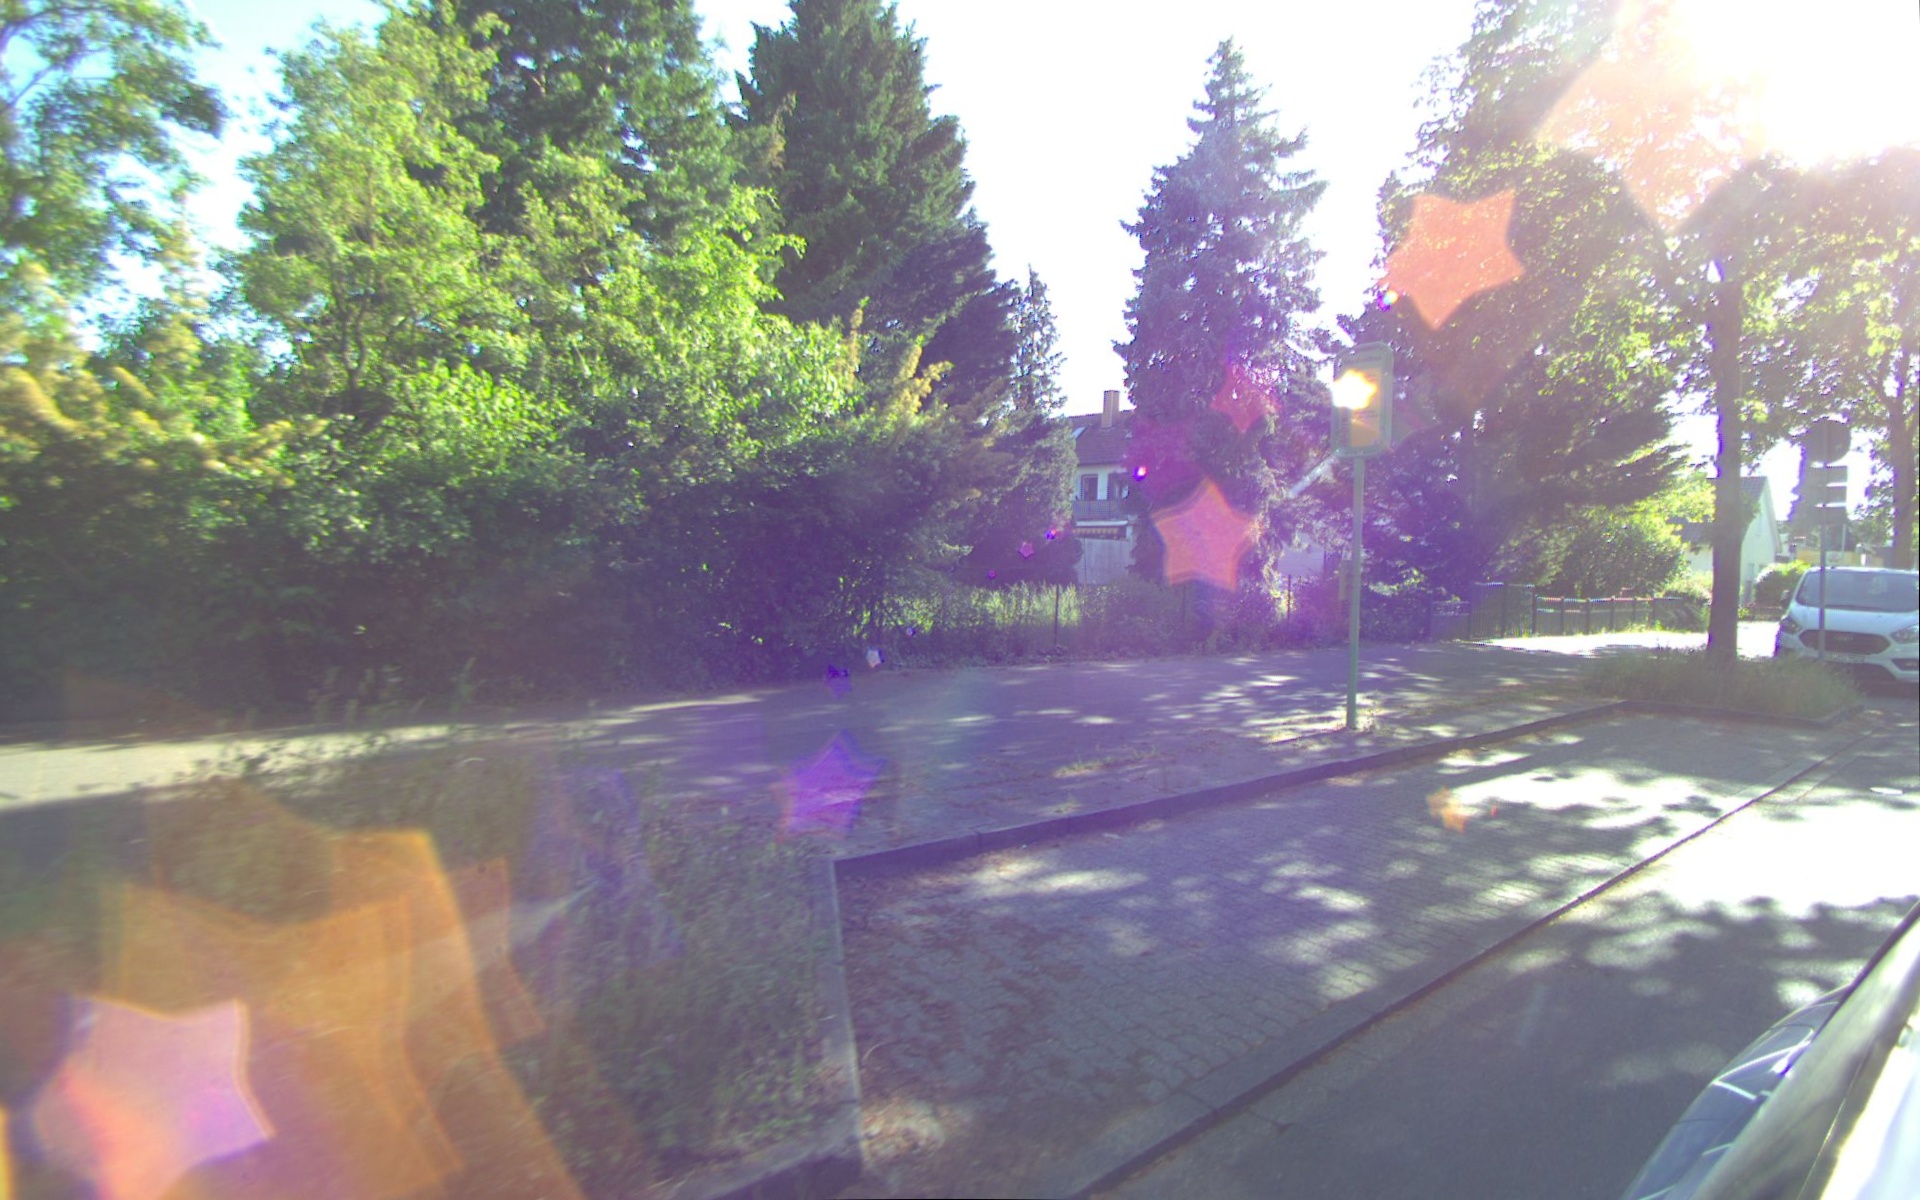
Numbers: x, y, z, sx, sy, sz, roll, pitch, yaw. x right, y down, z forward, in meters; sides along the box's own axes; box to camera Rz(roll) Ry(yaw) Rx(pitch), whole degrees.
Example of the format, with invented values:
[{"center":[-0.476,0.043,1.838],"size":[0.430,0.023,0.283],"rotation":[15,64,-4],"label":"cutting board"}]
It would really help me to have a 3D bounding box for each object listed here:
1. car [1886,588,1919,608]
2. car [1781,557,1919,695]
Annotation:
[{"center":[71.598,-0.150,75.481],"size":[1.667,1.457,3.615],"rotation":[-1,0,-43],"label":"car"},{"center":[15.673,0.349,17.149],"size":[5.108,2.039,1.996],"rotation":[-1,0,-43],"label":"car"}]
